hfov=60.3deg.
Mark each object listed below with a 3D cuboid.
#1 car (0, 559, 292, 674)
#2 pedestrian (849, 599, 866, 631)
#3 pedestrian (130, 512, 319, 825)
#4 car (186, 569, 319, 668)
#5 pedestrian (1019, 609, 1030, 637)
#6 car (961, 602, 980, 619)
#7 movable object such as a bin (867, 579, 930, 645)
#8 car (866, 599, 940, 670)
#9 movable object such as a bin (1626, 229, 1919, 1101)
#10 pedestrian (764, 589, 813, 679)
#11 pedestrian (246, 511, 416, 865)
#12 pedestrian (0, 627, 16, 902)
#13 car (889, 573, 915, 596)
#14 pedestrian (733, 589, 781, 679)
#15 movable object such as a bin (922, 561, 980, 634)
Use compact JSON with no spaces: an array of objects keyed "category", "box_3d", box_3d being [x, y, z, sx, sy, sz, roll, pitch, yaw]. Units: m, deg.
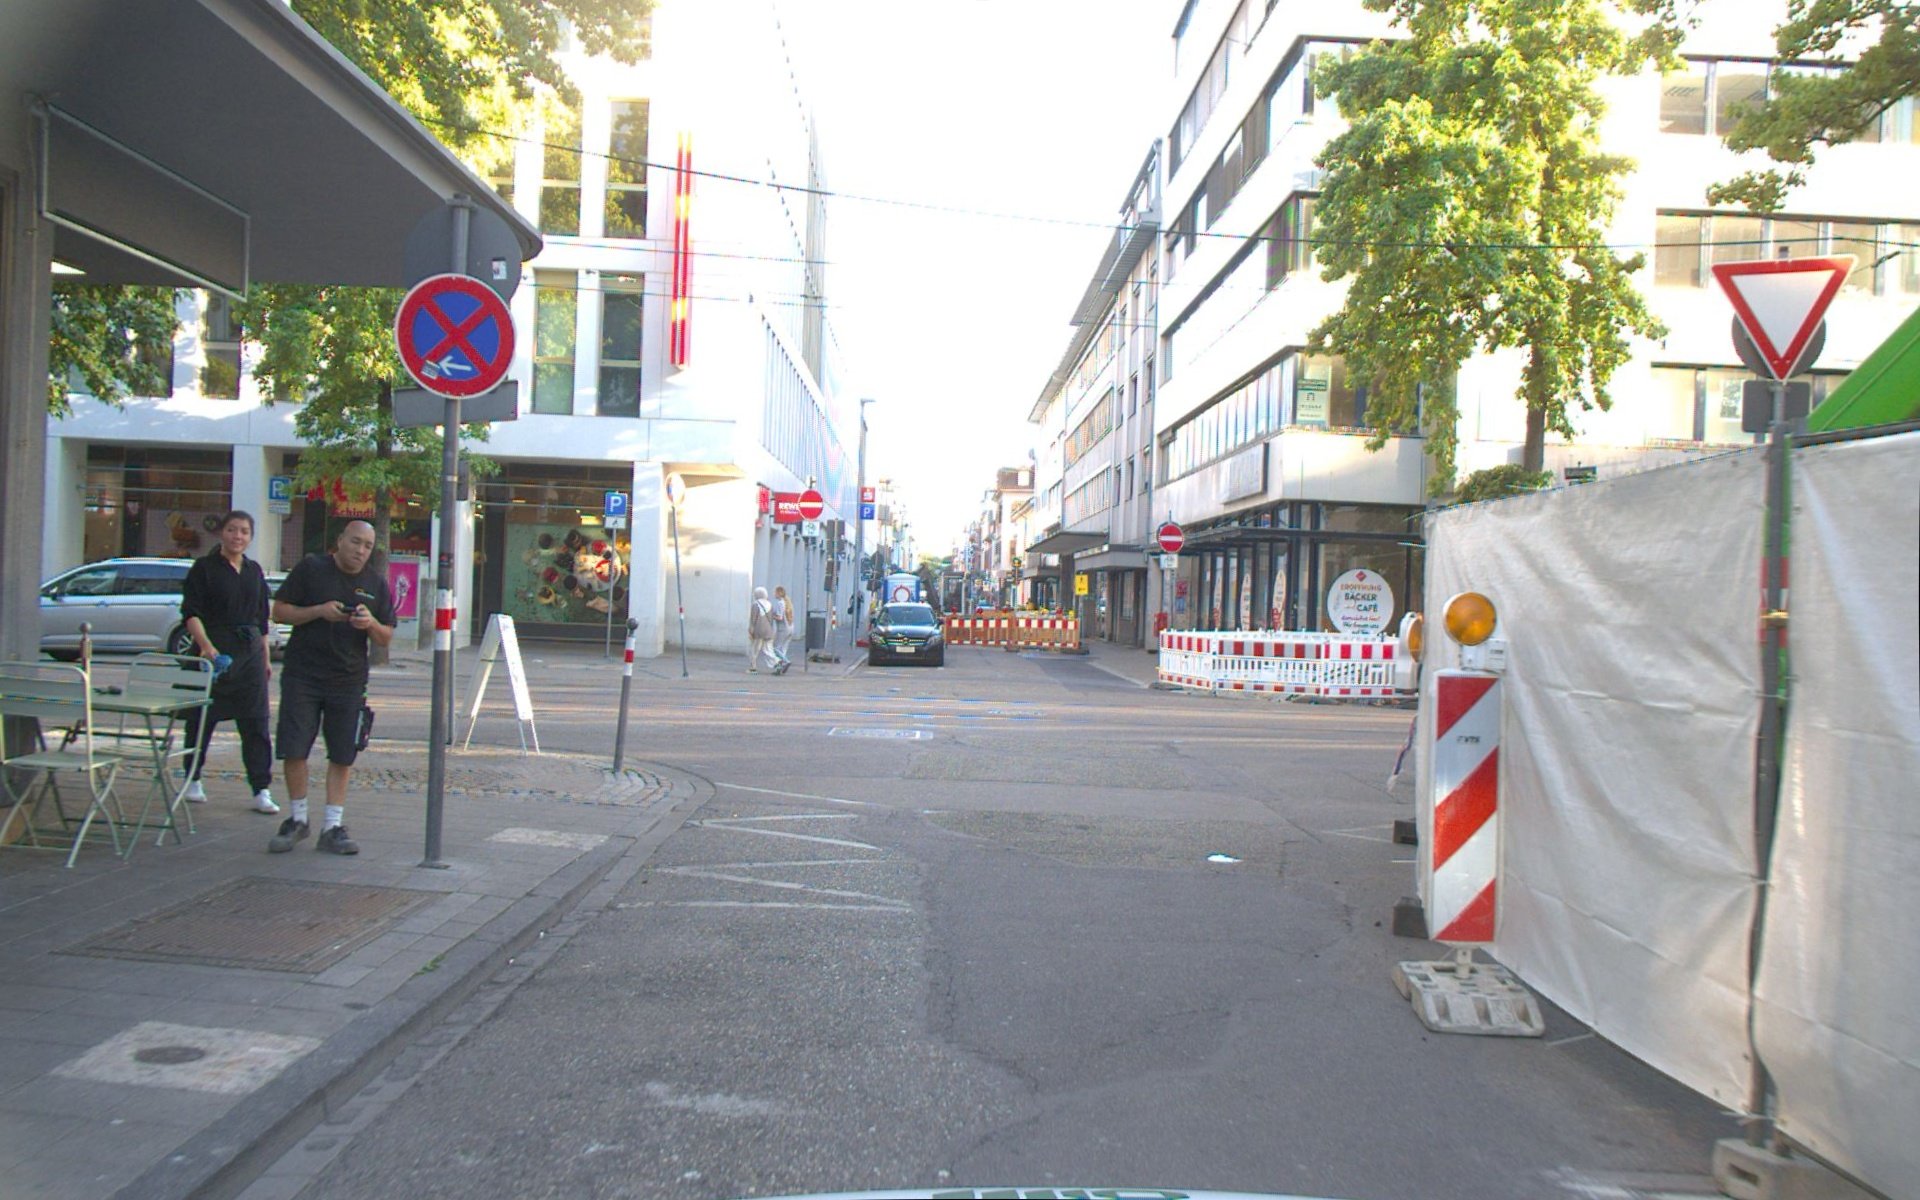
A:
[{"category":"car","box_3d":[-13.026,0.275,26.072,4.187,1.621,1.826,2,-2,-5]},{"category":"pedestrian","box_3d":[-4.769,0.691,77.132,0.701,1.490,0.525,1,0,1]},{"category":"pedestrian","box_3d":[-4.250,0.379,9.542,0.789,1.697,0.892,4,-1,-33]},{"category":"car","box_3d":[-12.924,0.302,30.090,1.922,1.531,3.963,1,2,-28]},{"category":"pedestrian","box_3d":[3.536,1.268,91.188,0.513,1.490,0.719,2,0,7]},{"category":"car","box_3d":[1.153,1.109,178.856,1.953,1.808,3.999,1,0,-1]},{"category":"movable object such as a bin","box_3d":[-2.001,0.377,54.649,1.953,2.049,3.999,1,0,-1]},{"category":"car","box_3d":[-1.391,0.789,39.324,1.597,1.577,3.139,1,0,-4]},{"category":"movable object such as a bin","box_3d":[4.459,0.226,5.597,2.552,2.888,4.449,1,0,-1]},{"category":"pedestrian","box_3d":[-3.242,0.634,31.261,0.603,1.656,0.864,1,0,-31]},{"category":"pedestrian","box_3d":[-3.134,0.434,8.285,0.674,1.697,0.504,3,-1,-18]},{"category":"pedestrian","box_3d":[-4.014,0.659,6.131,0.561,1.133,0.713,3,0,-1]},{"category":"car","box_3d":[-4.704,-1.275,134.249,1.953,1.808,3.999,1,0,-1]},{"category":"pedestrian","box_3d":[-3.806,0.626,30.981,0.603,1.656,0.864,1,0,-31]},{"category":"movable object such as a bin","box_3d":[-0.395,-0.099,64.744,2.113,2.710,4.571,2,0,-1]}]
